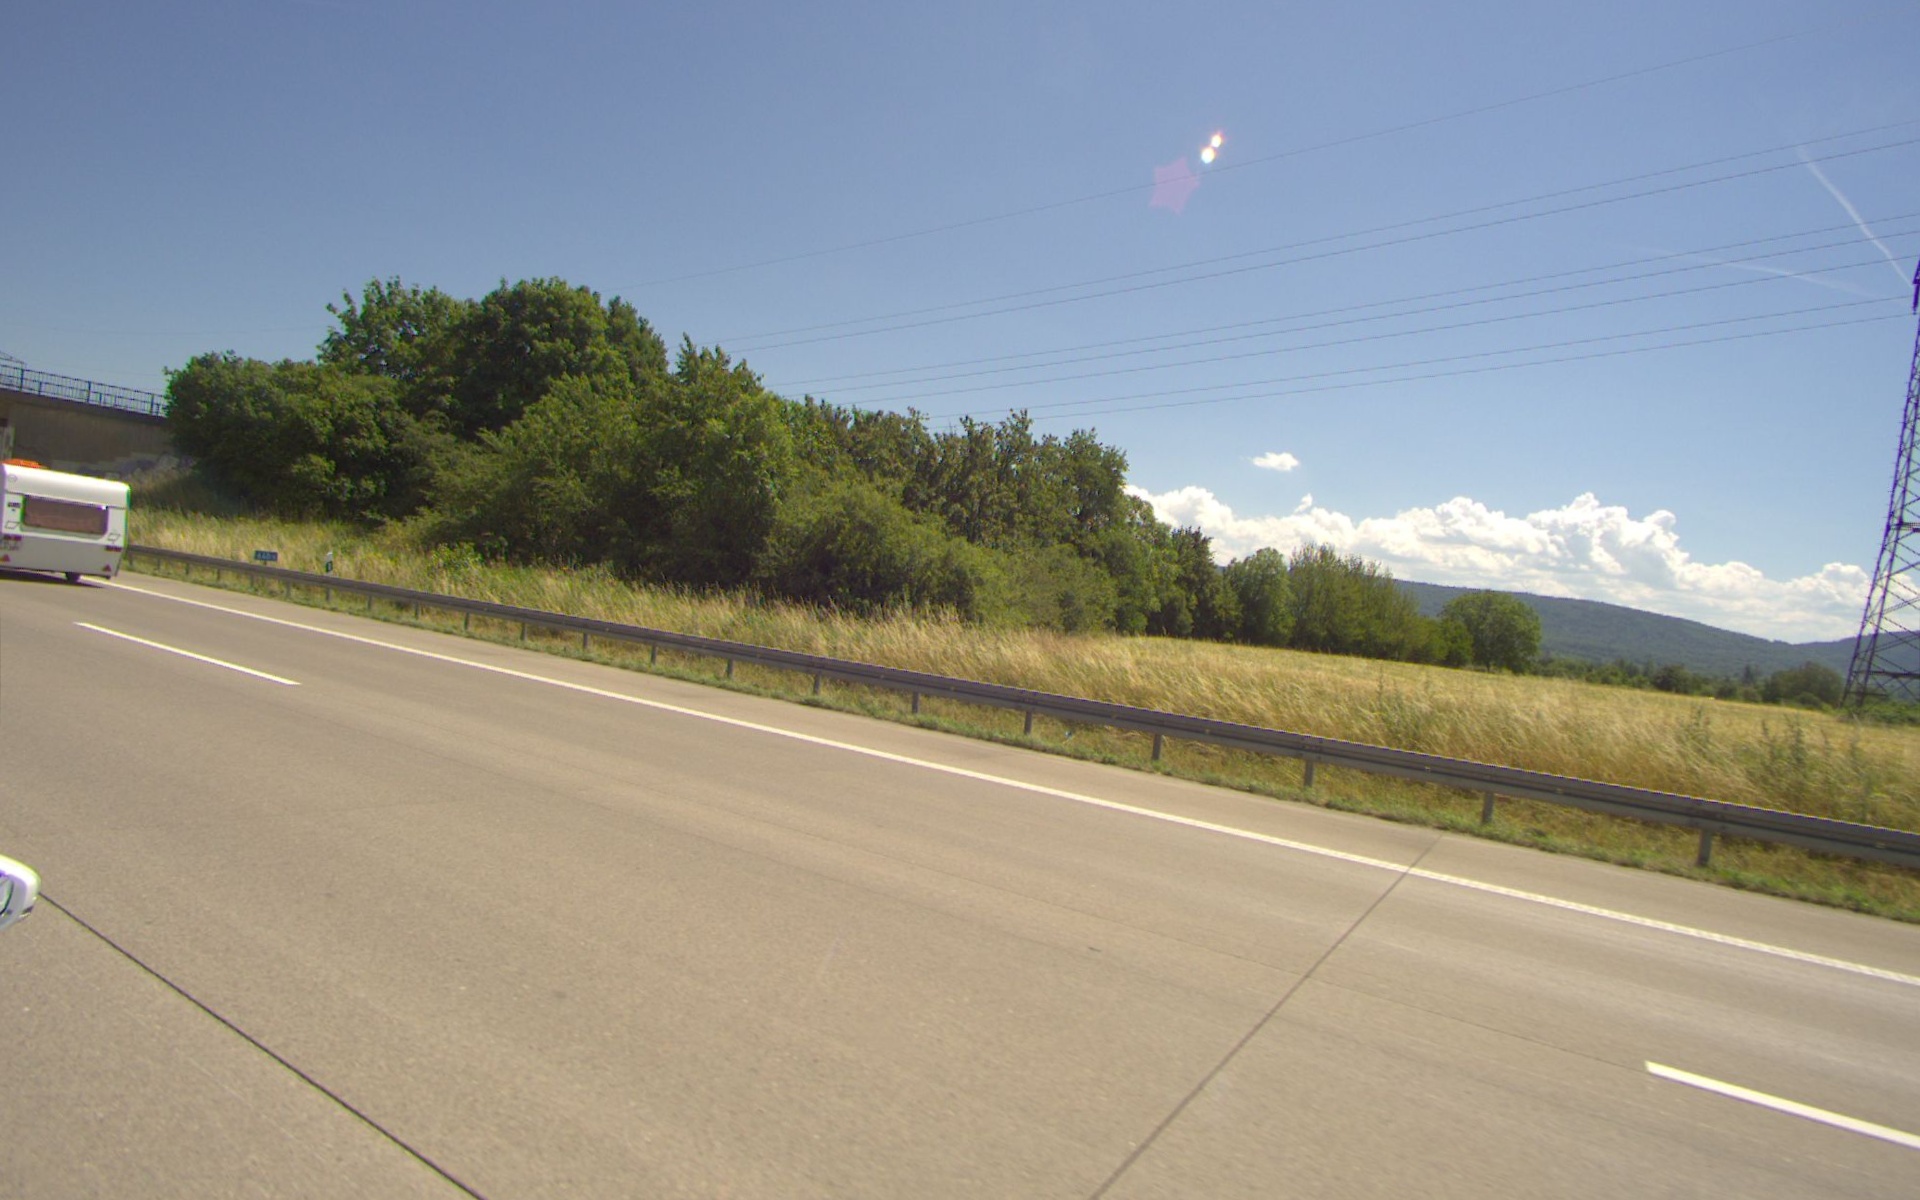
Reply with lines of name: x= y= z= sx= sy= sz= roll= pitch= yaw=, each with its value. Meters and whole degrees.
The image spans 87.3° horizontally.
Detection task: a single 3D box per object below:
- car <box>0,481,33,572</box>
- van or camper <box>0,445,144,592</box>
car: x=-24.109 y=-1.960 z=23.842 sx=3.933 sy=2.037 sz=1.998 roll=7 pitch=-2 yaw=31
van or camper: x=-20.027 y=-1.822 z=21.431 sx=5.340 sy=2.560 sz=2.229 roll=7 pitch=-1 yaw=32
